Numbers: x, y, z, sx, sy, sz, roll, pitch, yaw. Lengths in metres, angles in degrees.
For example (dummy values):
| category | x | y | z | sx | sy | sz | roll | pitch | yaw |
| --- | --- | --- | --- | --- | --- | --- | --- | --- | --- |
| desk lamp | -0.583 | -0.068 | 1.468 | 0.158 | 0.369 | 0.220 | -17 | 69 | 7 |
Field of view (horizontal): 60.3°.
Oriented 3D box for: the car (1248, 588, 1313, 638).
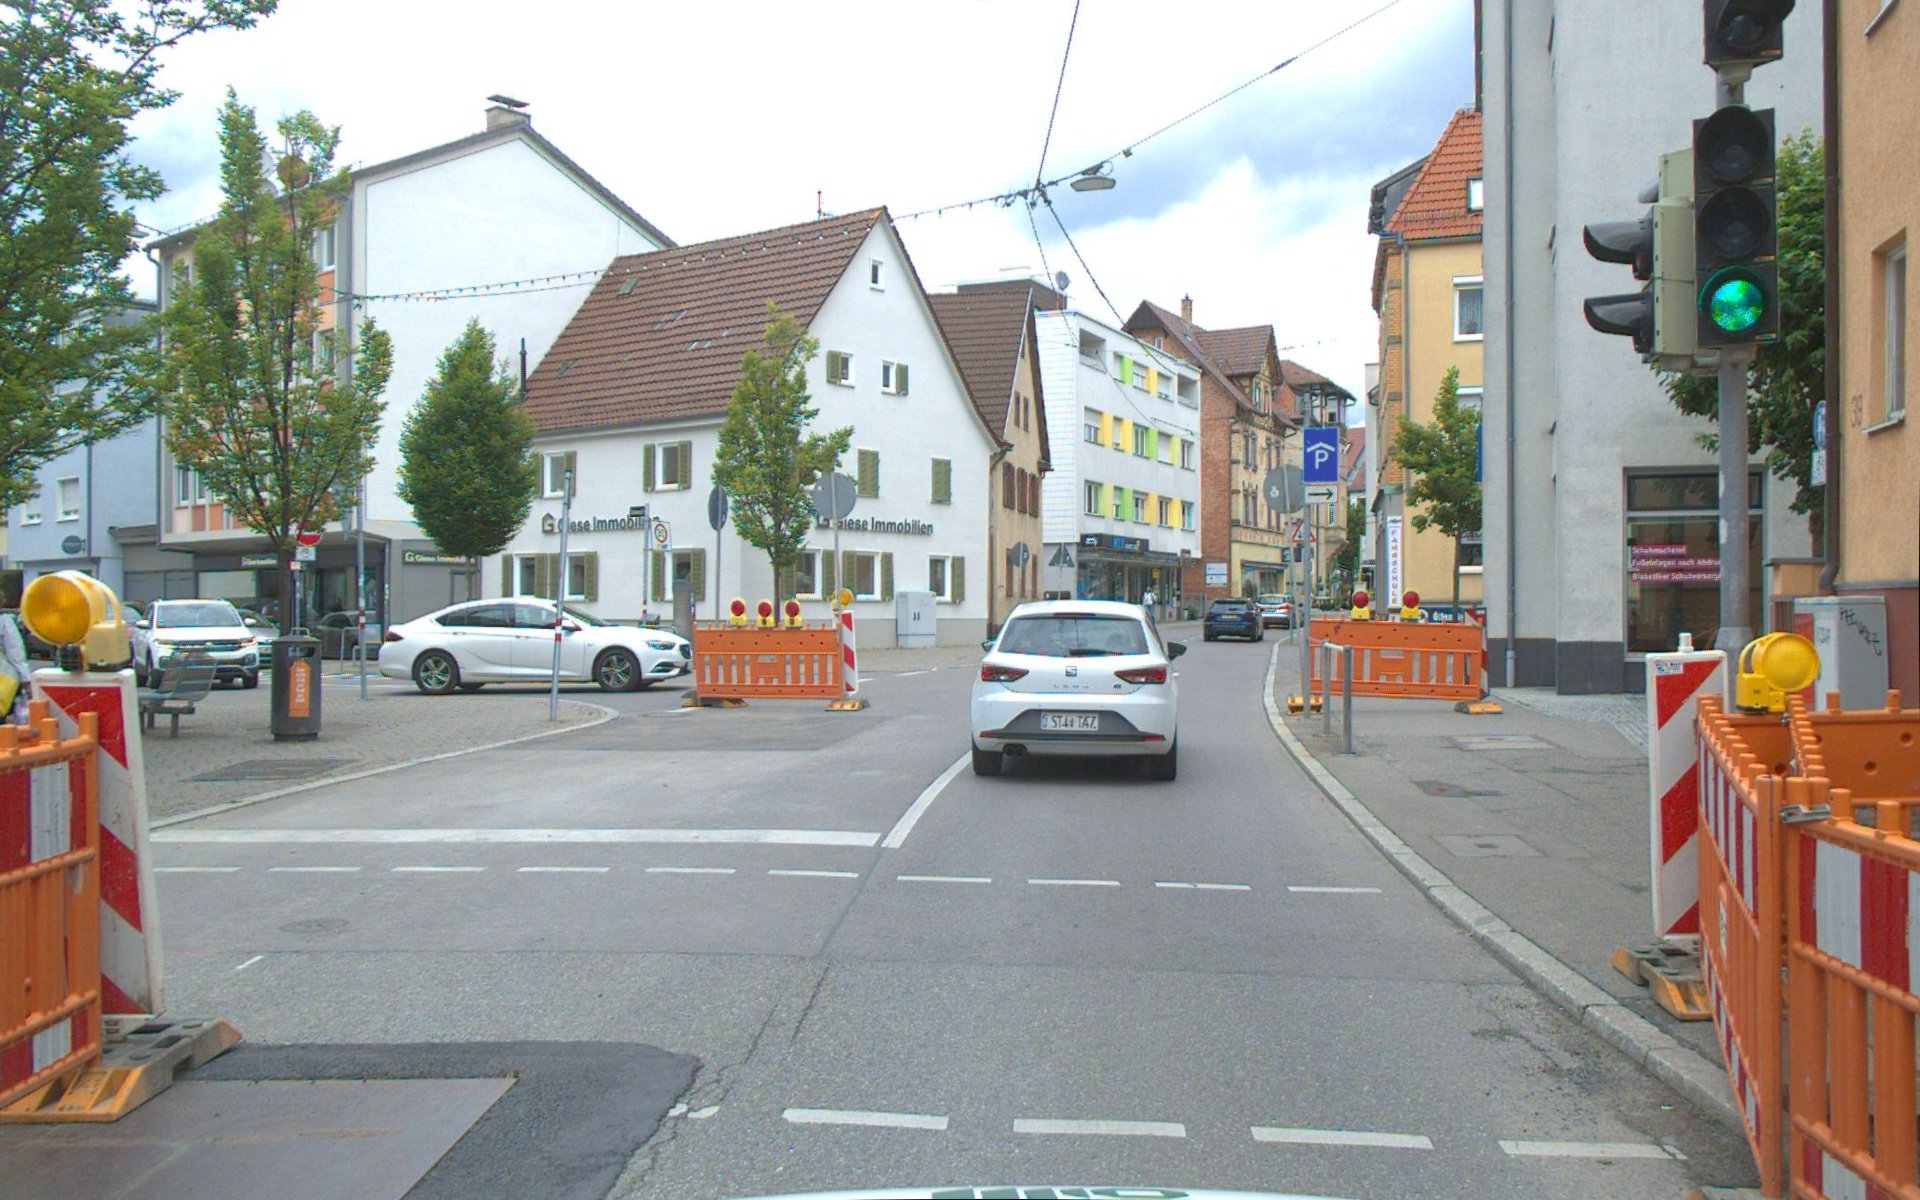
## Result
| category | x | y | z | sx | sy | sz | roll | pitch | yaw |
| --- | --- | --- | --- | --- | --- | --- | --- | --- | --- |
| car | 13.690 | 0.537 | 70.452 | 1.953 | 2.049 | 3.999 | 0 | 0 | 22 |

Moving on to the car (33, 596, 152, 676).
| category | x | y | z | sx | sy | sz | roll | pitch | yaw |
| --- | --- | --- | --- | --- | --- | --- | --- | --- | --- |
| car | -19.037 | 0.735 | 36.187 | 1.995 | 1.584 | 4.866 | 0 | 0 | -31 |

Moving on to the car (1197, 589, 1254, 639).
| category | x | y | z | sx | sy | sz | roll | pitch | yaw |
| --- | --- | --- | --- | --- | --- | --- | --- | --- | --- |
| car | 8.671 | 0.443 | 53.951 | 1.773 | 1.506 | 3.874 | -1 | 1 | 10 |

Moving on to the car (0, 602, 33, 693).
| category | x | y | z | sx | sy | sz | roll | pitch | yaw |
| --- | --- | --- | --- | --- | --- | --- | --- | --- | --- |
| car | -19.245 | 0.905 | 29.546 | 1.955 | 1.668 | 4.323 | -1 | 0 | 27 |

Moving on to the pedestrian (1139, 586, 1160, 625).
| category | x | y | z | sx | sy | sz | roll | pitch | yaw |
| --- | --- | --- | --- | --- | --- | --- | --- | --- | --- |
| pedestrian | 8.380 | 0.244 | 73.085 | 0.873 | 1.694 | 0.862 | 0 | 0 | 10 |

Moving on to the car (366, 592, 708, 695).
| category | x | y | z | sx | sy | sz | roll | pitch | yaw |
| --- | --- | --- | --- | --- | --- | --- | --- | --- | --- |
| car | -6.586 | 0.657 | 26.188 | 4.801 | 1.502 | 2.250 | 1 | 0 | 1 |

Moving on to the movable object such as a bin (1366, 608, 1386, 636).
| category | x | y | z | sx | sy | sz | roll | pitch | yaw |
| --- | --- | --- | --- | --- | --- | --- | --- | --- | --- |
| movable object such as a bin | 14.115 | 0.748 | 56.144 | 0.606 | 0.937 | 0.582 | 0 | 0 | 17 |

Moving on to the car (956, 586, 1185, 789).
| category | x | y | z | sx | sy | sz | roll | pitch | yaw |
| --- | --- | --- | --- | --- | --- | --- | --- | --- | --- |
| car | 1.097 | 0.663 | 14.877 | 1.773 | 1.506 | 3.874 | 1 | 1 | 7 |

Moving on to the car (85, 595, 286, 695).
| category | x | y | z | sx | sy | sz | roll | pitch | yaw |
| --- | --- | --- | --- | --- | --- | --- | --- | --- | --- |
| car | -13.933 | 0.729 | 29.611 | 2.004 | 1.584 | 4.845 | 0 | 1 | -41 |

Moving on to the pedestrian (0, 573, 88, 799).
| category | x | y | z | sx | sy | sz | roll | pitch | yaw |
| --- | --- | --- | --- | --- | --- | --- | --- | --- | --- |
| pedestrian | -7.116 | 0.620 | 12.312 | 0.667 | 1.620 | 0.879 | -1 | 0 | 21 |

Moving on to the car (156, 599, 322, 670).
| category | x | y | z | sx | sy | sz | roll | pitch | yaw |
| --- | --- | --- | --- | --- | --- | --- | --- | --- | --- |
| car | -17.819 | 0.794 | 40.784 | 4.833 | 1.584 | 2.009 | 1 | 1 | 43 |
